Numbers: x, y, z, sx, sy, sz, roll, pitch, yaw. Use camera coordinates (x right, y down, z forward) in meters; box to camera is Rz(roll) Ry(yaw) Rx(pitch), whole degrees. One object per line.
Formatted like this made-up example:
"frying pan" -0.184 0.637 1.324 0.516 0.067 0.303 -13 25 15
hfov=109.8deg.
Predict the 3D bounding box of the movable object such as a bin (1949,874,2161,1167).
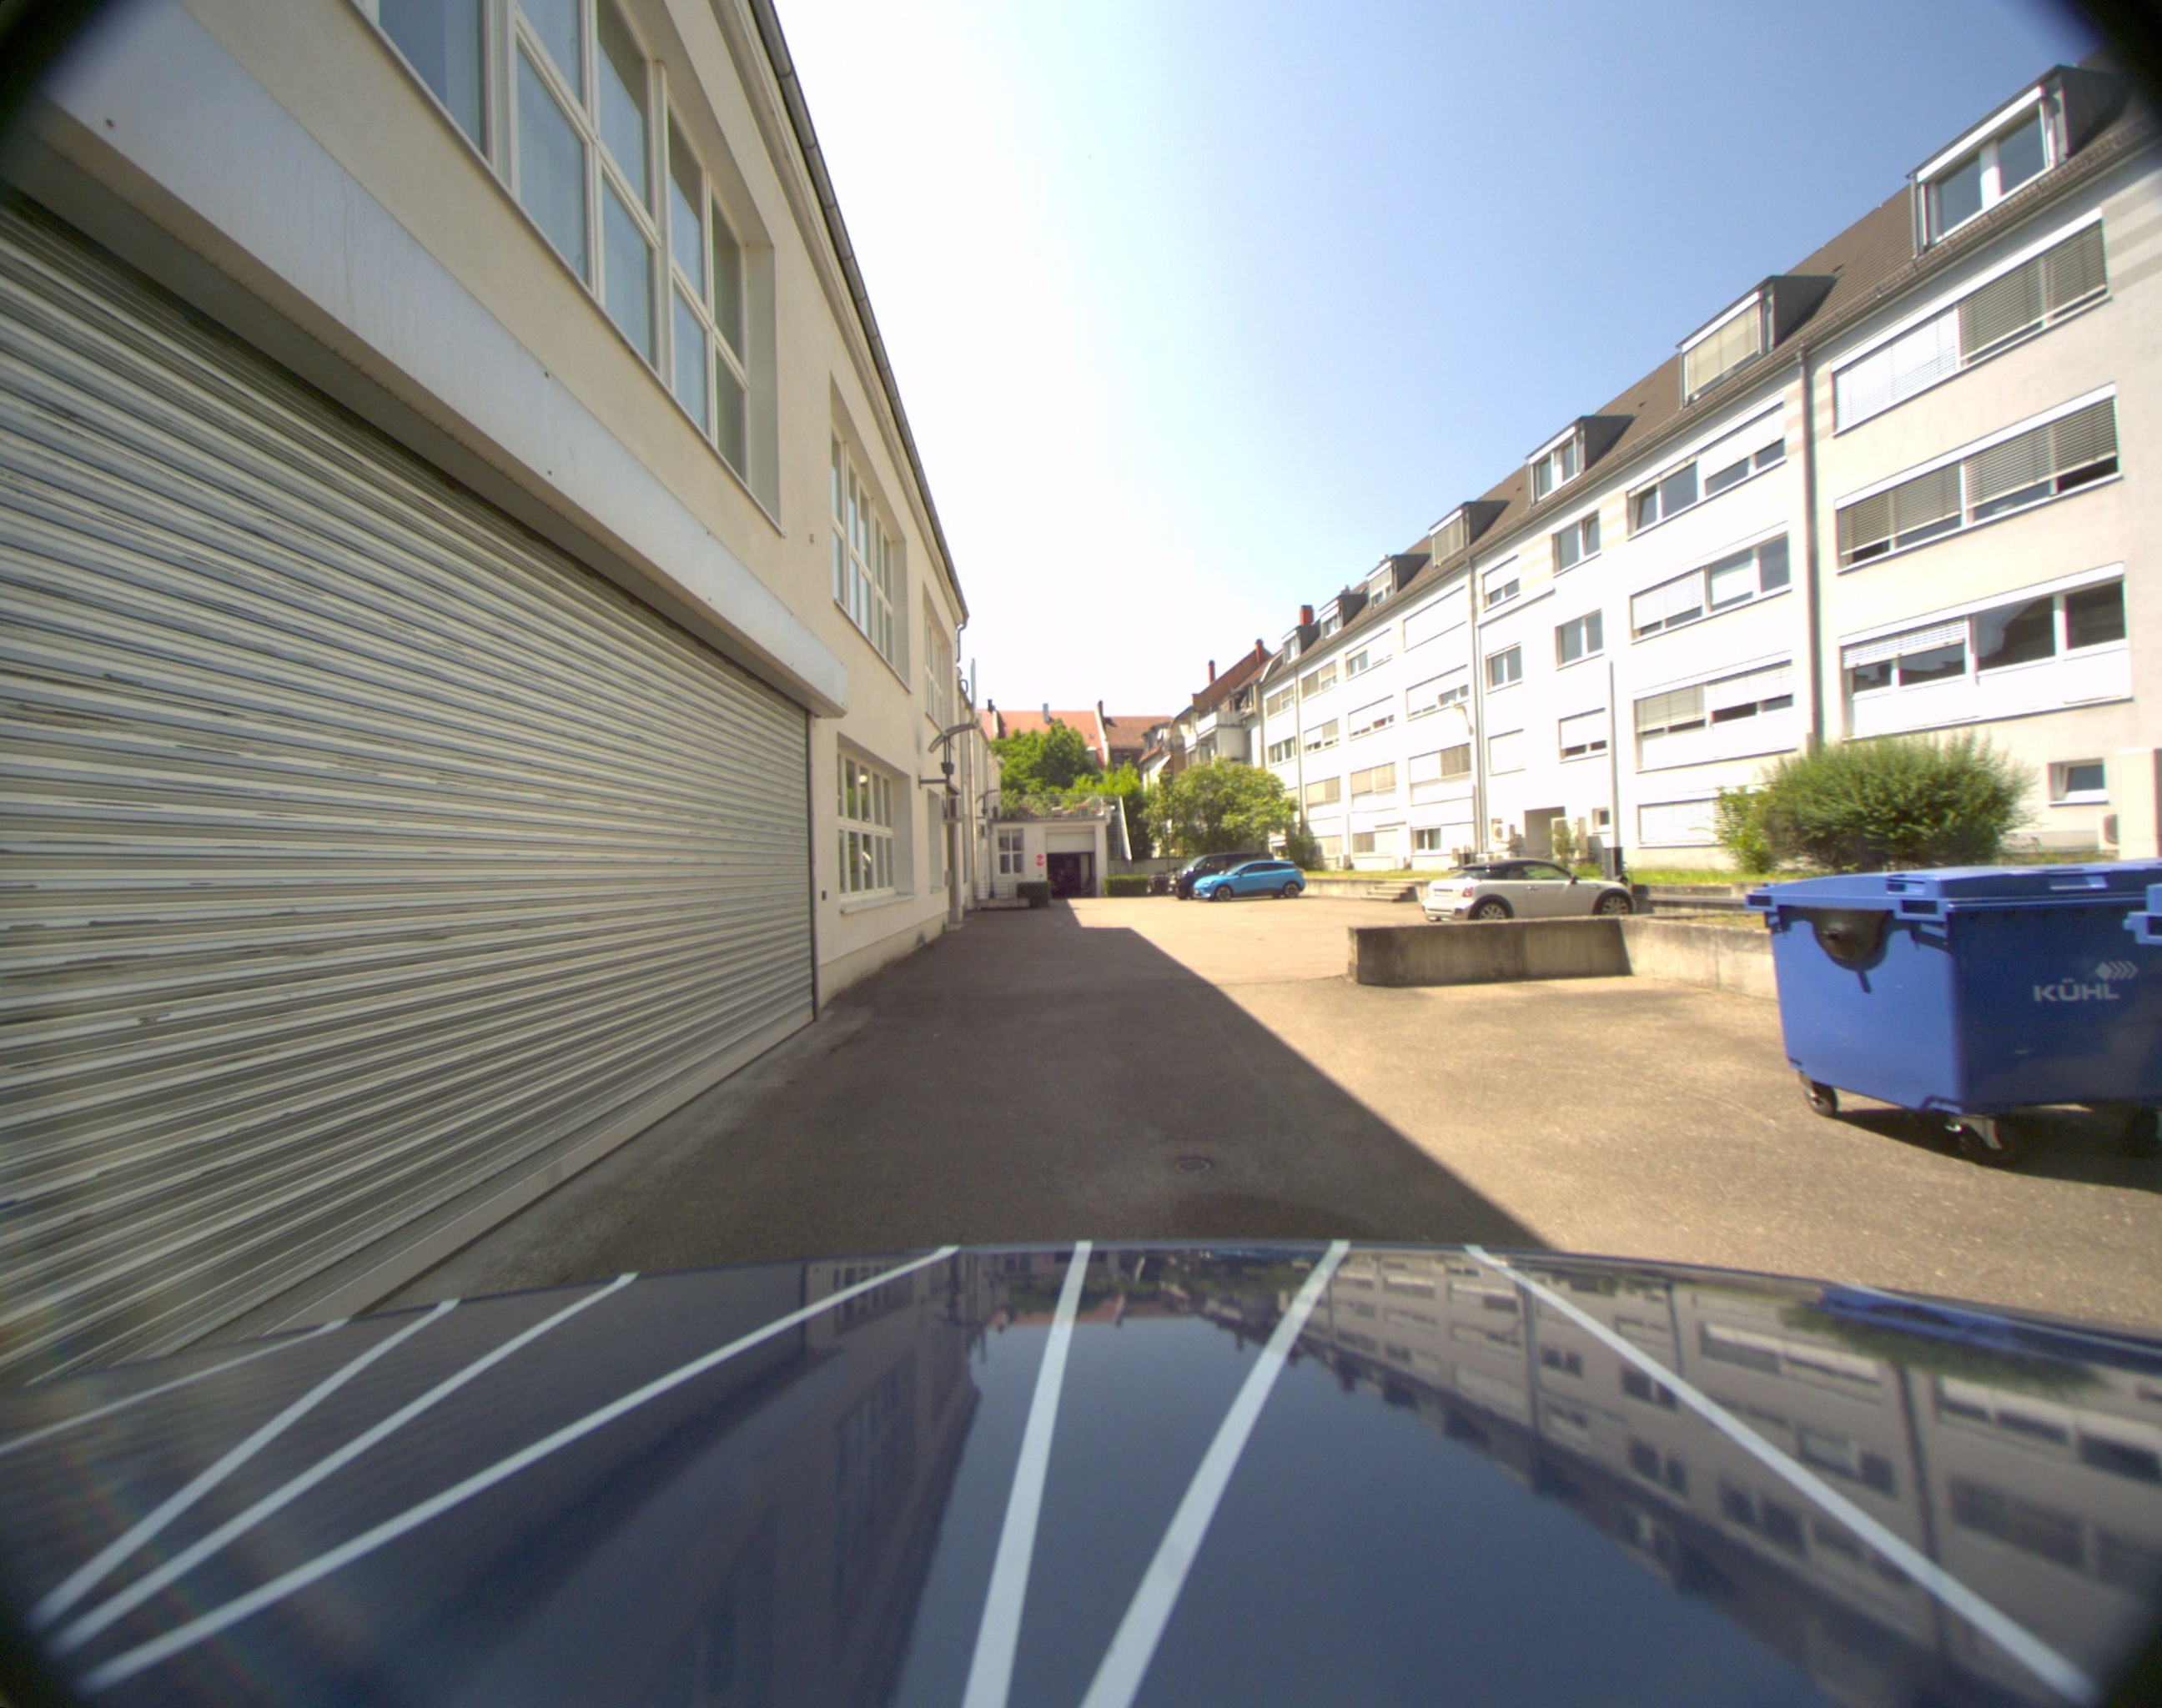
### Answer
"movable object such as a bin" 5.680 0.793 3.856 1.257 1.320 1.104 -2 0 -2

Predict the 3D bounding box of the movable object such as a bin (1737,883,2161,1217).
"movable object such as a bin" 4.371 0.843 3.755 1.257 1.320 1.104 -2 0 -2

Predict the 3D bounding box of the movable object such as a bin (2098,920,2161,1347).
"movable object such as a bin" 3.997 0.852 1.957 1.257 1.320 1.104 -2 0 -2

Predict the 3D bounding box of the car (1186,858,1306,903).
"car" 6.415 1.010 29.742 4.169 1.544 1.858 -2 0 -7

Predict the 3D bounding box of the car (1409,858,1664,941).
"car" 8.691 0.832 14.685 3.999 1.428 1.710 -1 0 -6

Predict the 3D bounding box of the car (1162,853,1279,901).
"car" 5.882 0.950 32.345 4.450 1.821 1.999 -2 0 -5
